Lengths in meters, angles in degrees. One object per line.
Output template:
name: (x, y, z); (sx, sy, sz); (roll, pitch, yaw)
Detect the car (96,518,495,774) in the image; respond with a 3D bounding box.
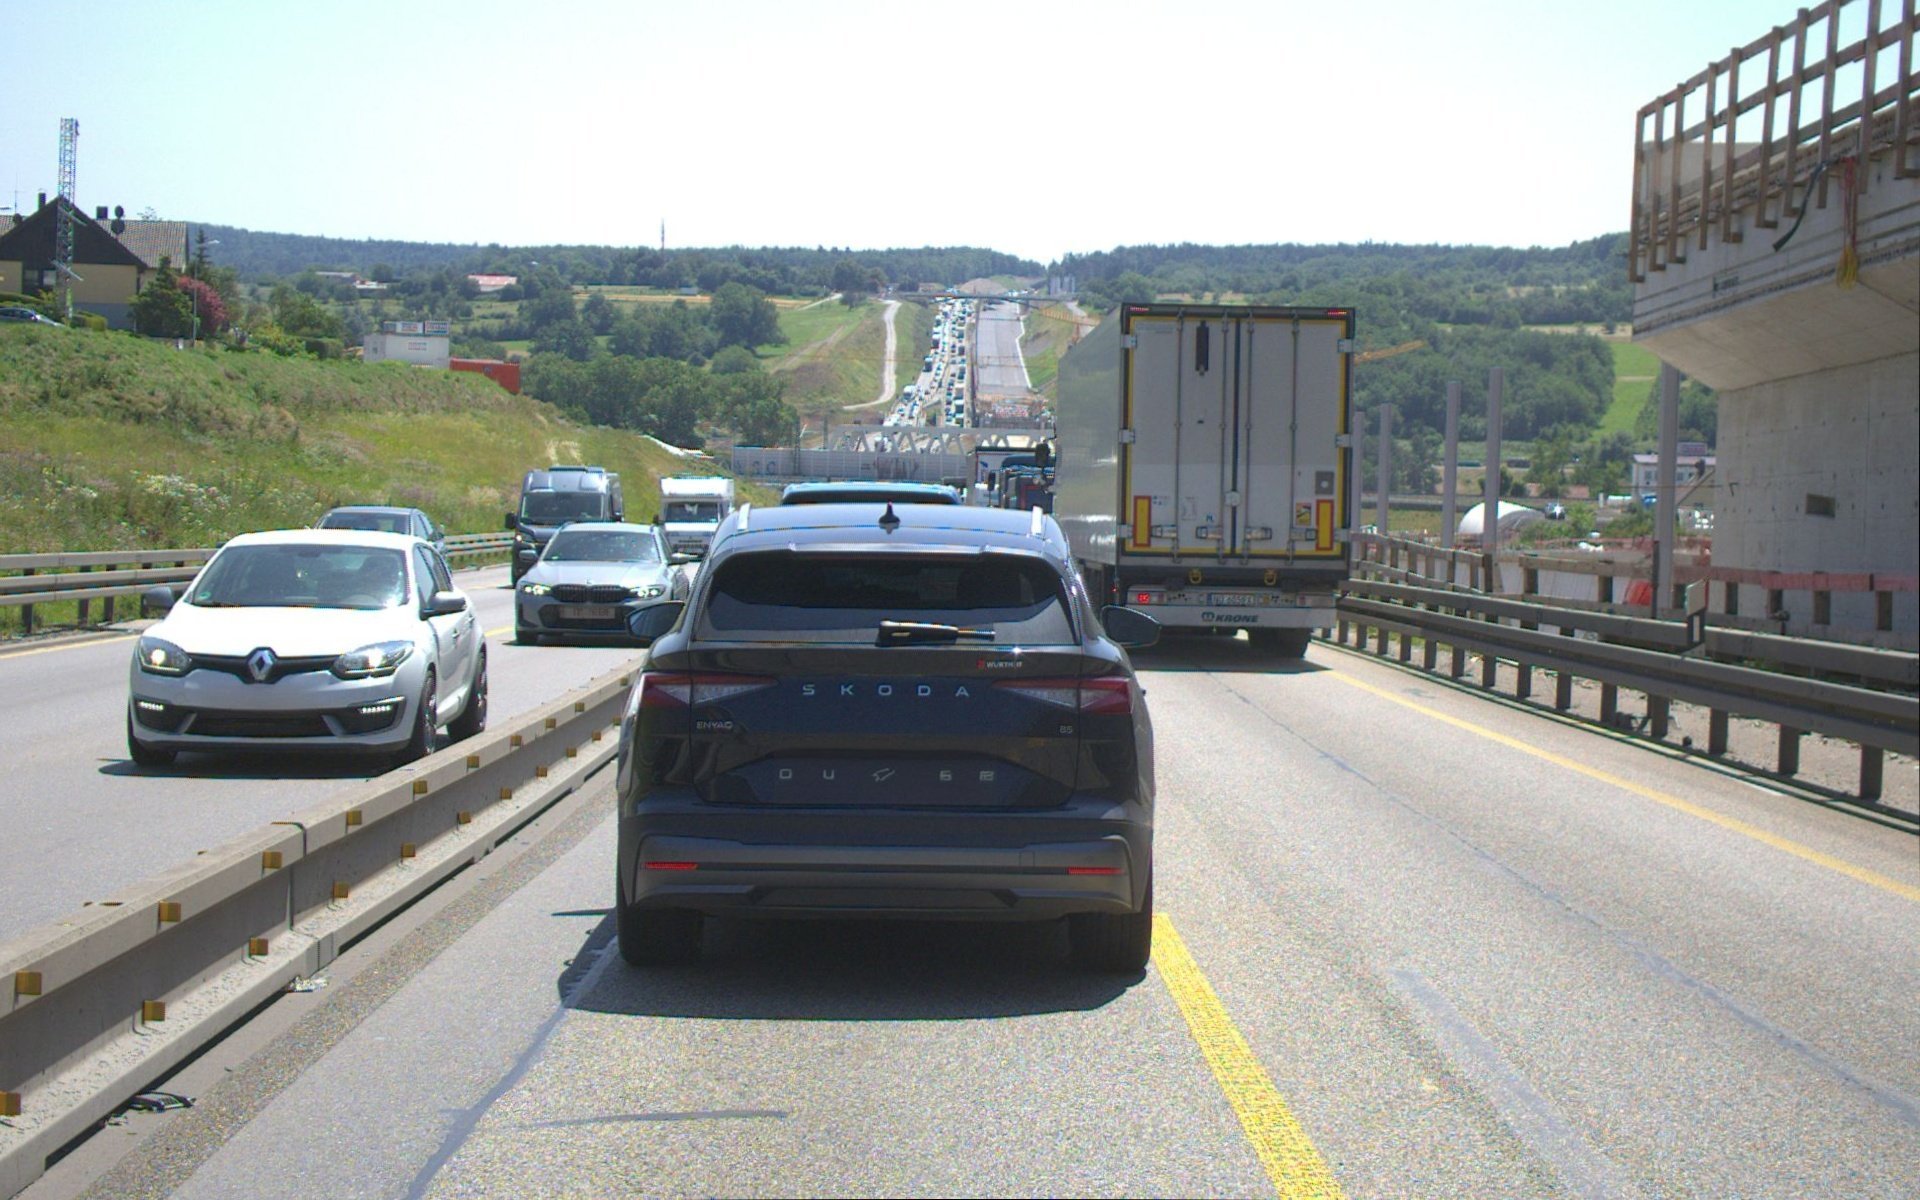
car: (-4.132, 0.226, 21.978); (1.802, 1.459, 4.000); (1, 1, -1)

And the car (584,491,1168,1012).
car: (-0.262, 0.443, 12.763); (1.802, 1.602, 4.000); (1, 1, 0)

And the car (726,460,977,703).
car: (-0.912, -0.163, 30.026); (1.993, 1.919, 4.508); (1, 0, -1)

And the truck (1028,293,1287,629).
truck: (2.756, -2.007, 50.765); (3.180, 4.497, 8.166); (1, 2, -1)

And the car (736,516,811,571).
car: (-5.134, -1.581, 95.225); (1.842, 1.470, 4.835); (1, 1, -1)

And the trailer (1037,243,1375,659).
trailer: (2.845, -1.837, 44.238); (3.180, 4.497, 13.110); (1, 2, -1)

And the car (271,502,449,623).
car: (-8.462, -0.557, 48.791); (1.773, 1.576, 4.286); (2, 1, -1)

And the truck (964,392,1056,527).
truck: (1.723, -4.986, 124.734); (2.852, 4.450, 11.918); (1, 0, -1)

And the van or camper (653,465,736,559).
van or camper: (-8.975, -2.983, 116.626); (2.291, 3.056, 6.924); (1, 1, -1)

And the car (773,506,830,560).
car: (-5.495, -2.353, 120.010); (1.837, 1.821, 5.041); (1, 1, -1)

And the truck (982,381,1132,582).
truck: (2.232, -2.711, 82.199); (3.180, 4.497, 8.166); (1, 0, -1)

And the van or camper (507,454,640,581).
van or camper: (-8.287, -1.774, 74.247); (2.140, 2.564, 6.565); (2, 1, -1)

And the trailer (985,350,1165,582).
trailer: (2.319, -2.673, 75.084); (3.180, 4.497, 14.967); (1, 0, -1)

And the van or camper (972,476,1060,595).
van or camper: (1.630, -1.807, 98.588); (2.389, 3.269, 6.469); (1, 0, 1)

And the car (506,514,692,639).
car: (-4.336, -0.319, 41.848); (1.829, 1.428, 4.630); (1, 1, -1)

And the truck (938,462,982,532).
truck: (-0.008, -6.512, 218.779); (2.640, 4.179, 9.284); (1, 0, 0)
